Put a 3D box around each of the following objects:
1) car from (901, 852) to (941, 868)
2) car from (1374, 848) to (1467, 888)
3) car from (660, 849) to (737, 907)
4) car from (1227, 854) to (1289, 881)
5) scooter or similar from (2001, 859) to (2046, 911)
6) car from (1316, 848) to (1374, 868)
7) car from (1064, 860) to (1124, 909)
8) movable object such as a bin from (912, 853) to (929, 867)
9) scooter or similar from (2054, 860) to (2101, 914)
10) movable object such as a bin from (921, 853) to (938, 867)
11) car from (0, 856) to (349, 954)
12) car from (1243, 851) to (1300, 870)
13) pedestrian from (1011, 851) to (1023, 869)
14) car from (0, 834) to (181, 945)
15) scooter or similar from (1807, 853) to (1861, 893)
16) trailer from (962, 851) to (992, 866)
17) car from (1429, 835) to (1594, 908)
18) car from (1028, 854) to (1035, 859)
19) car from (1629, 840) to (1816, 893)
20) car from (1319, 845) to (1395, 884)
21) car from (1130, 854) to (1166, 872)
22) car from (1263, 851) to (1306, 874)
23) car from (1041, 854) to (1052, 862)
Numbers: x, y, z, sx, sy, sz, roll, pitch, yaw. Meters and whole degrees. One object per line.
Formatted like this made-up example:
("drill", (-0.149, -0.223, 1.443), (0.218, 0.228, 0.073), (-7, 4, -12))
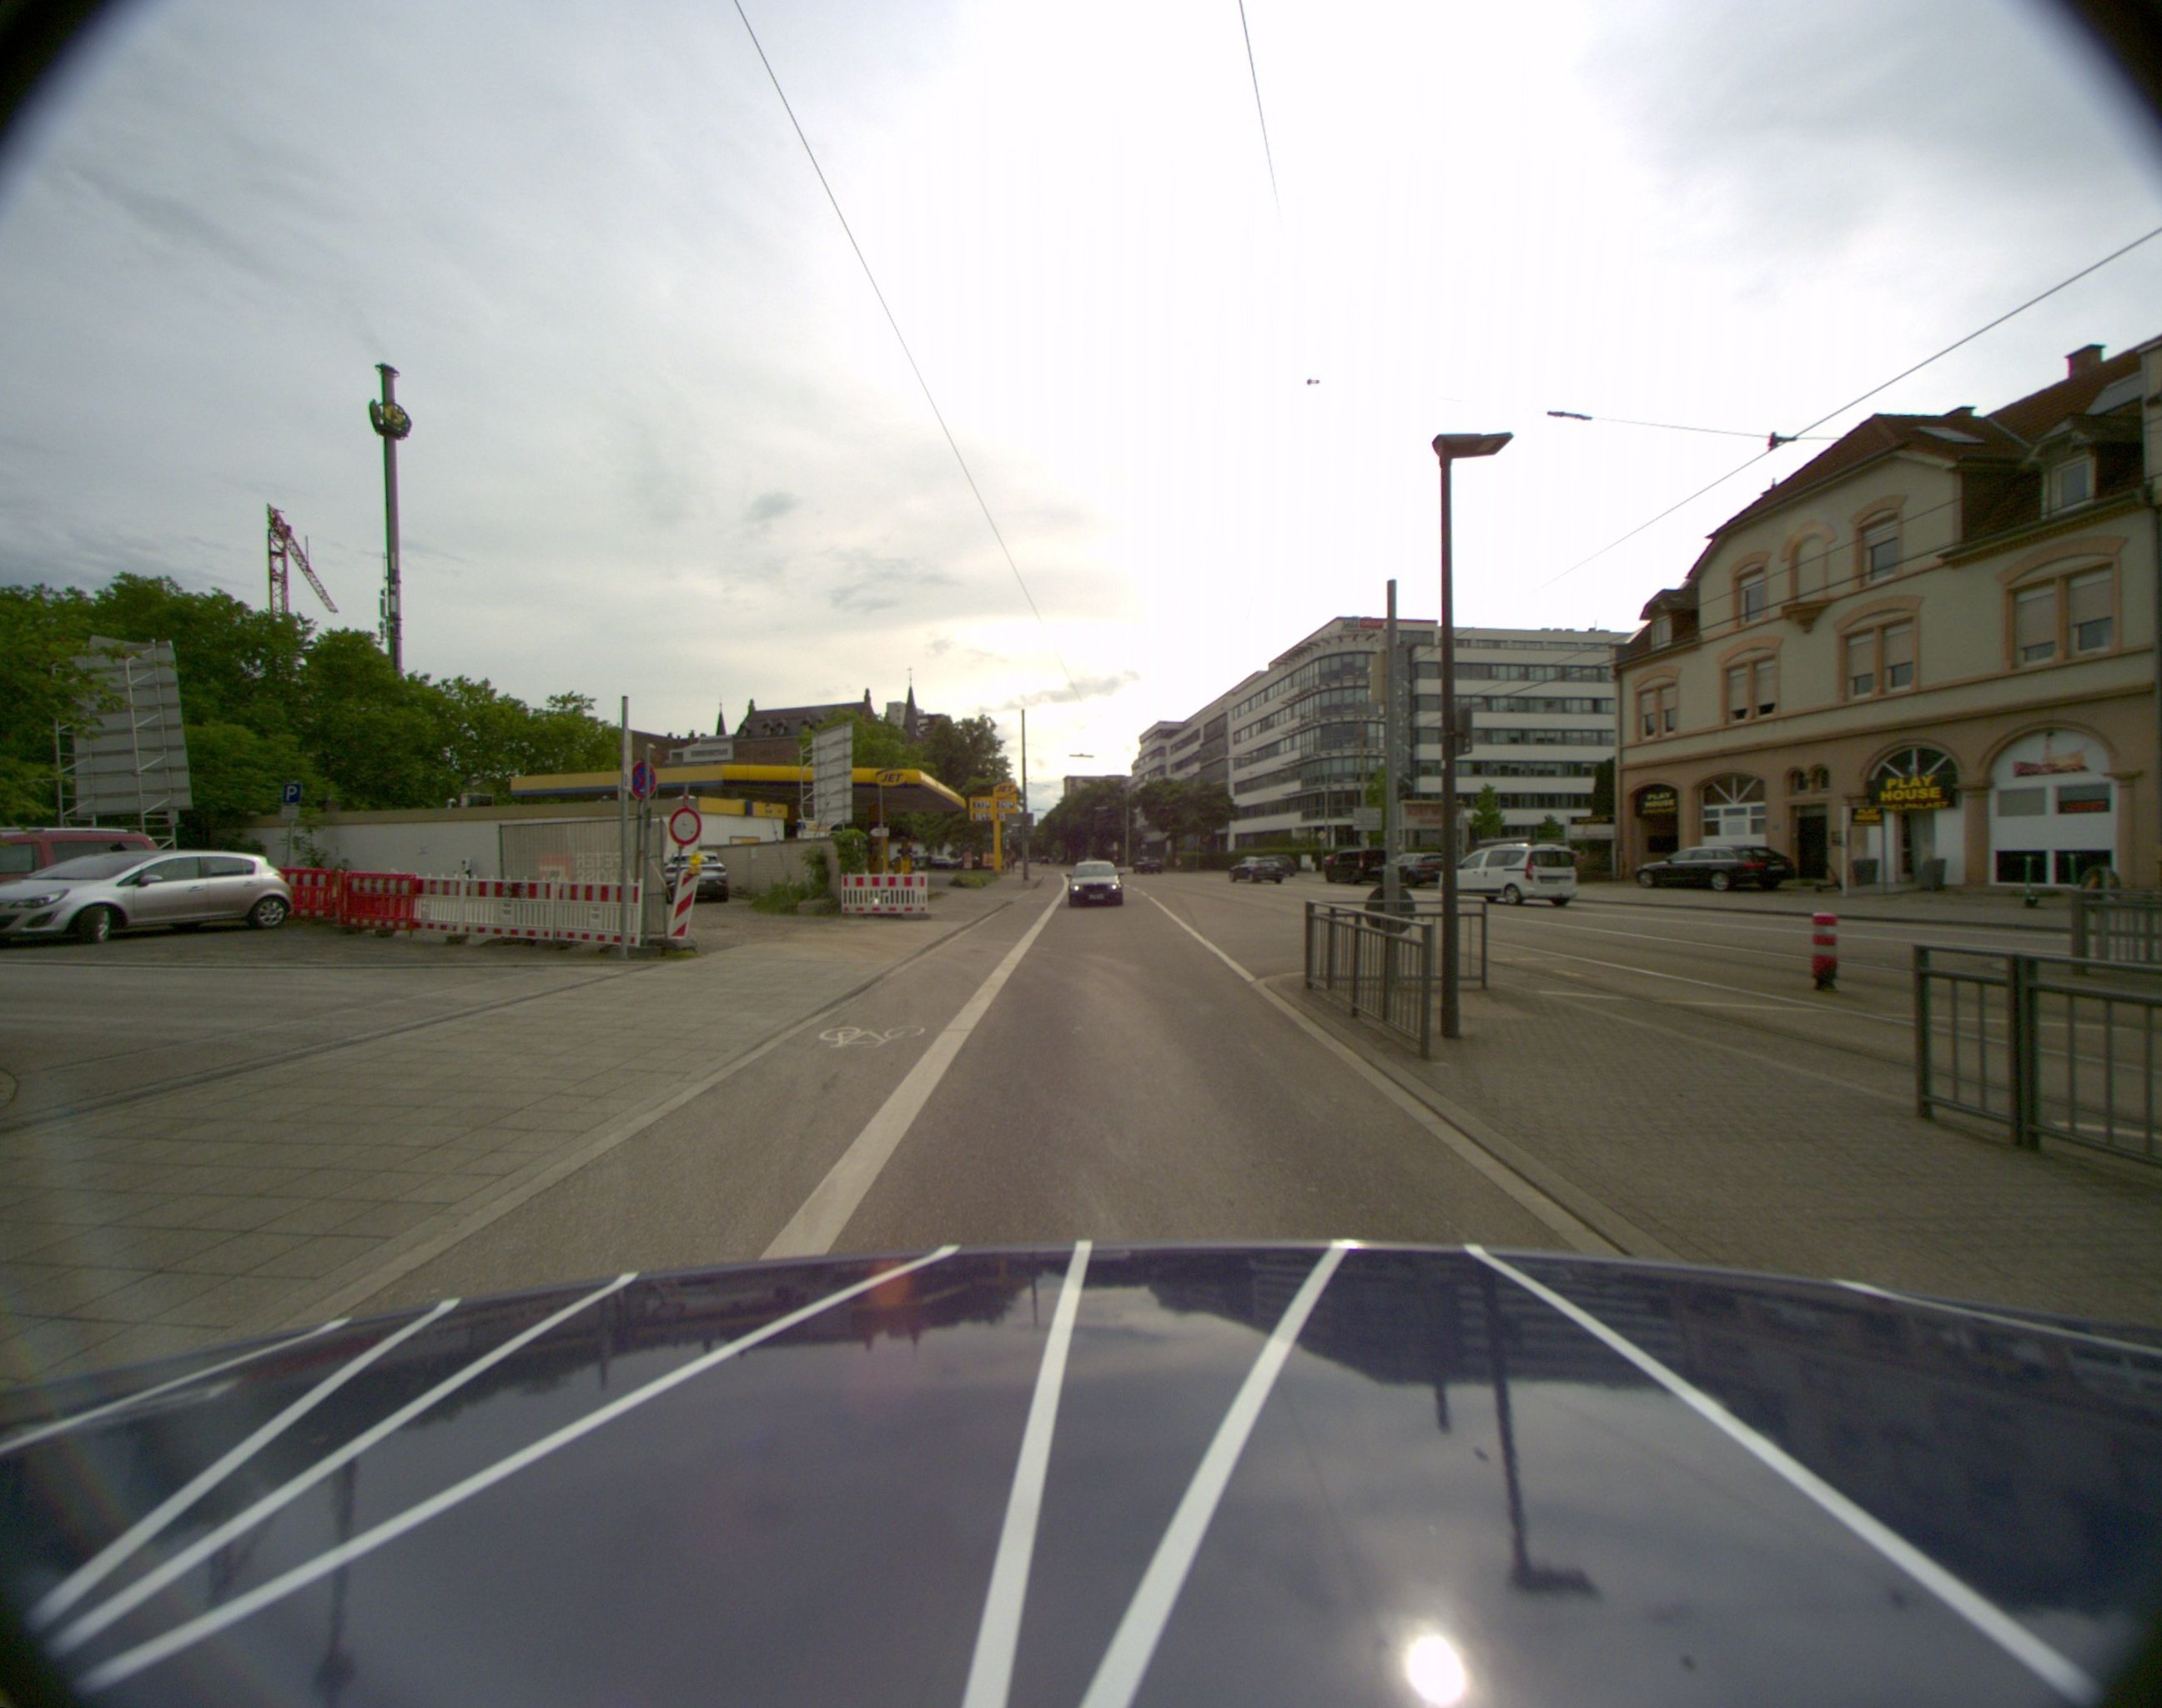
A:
("car", (-17.510, 0.621, 83.350), (3.999, 1.657, 1.999), (-2, 1, -6))
("car", (16.295, 0.642, 36.791), (2.043, 1.739, 4.532), (-3, 0, -6))
("car", (-12.160, 0.693, 24.154), (2.003, 1.628, 3.940), (0, 1, -28))
("car", (9.804, 0.735, 42.461), (1.888, 1.420, 4.420), (0, 0, -8))
("scooter or similar", (21.309, 0.684, 17.178), (1.180, 1.095, 0.526), (-2, 1, -33))
("car", (20.893, 0.316, 60.211), (4.018, 1.413, 1.725), (-1, -1, -6))
("car", (0.438, 0.951, 25.042), (1.786, 1.361, 4.113), (-2, 1, 1))
("movable object such as a bin", (-16.012, 0.587, 75.765), (1.118, 1.351, 1.162), (-1, 1, 28))
("scooter or similar", (21.520, 0.686, 16.405), (1.180, 1.095, 0.526), (-2, 1, -33))
("movable object such as a bin", (-14.975, 0.592, 75.229), (1.118, 1.312, 1.162), (-1, 1, 28))
("car", (-16.049, 0.772, 13.582), (1.767, 1.410, 4.346), (0, 1, -2))
("car", (14.751, 0.511, 58.877), (3.977, 1.443, 1.819), (0, 1, 24))
("pedestrian", (-6.409, 0.632, 75.858), (0.871, 1.738, 0.848), (2, 1, -32))
("car", (-18.871, 0.567, 12.906), (1.928, 1.834, 4.419), (1, 1, -1))
("scooter or similar", (22.529, 0.557, 22.735), (1.178, 1.095, 0.527), (-3, 1, -8))
("trailer", (-11.783, 0.490, 86.067), (3.292, 1.523, 1.772), (1, 3, -6))
("car", (12.818, 0.462, 23.045), (1.891, 1.977, 4.520), (0, 0, -10))
("car", (-15.434, 0.781, 237.649), (1.802, 1.537, 4.476), (-1, 1, -9))
("car", (21.664, 0.383, 26.003), (1.999, 1.484, 4.900), (-5, 1, -4))
("car", (15.370, 0.524, 42.648), (1.992, 2.002, 5.182), (-3, 1, -5))
("car", (5.807, 0.749, 66.724), (1.911, 1.464, 4.815), (0, 0, -10))
("car", (14.390, 0.615, 53.562), (1.791, 1.521, 4.150), (2, 0, 31))
("car", (-7.731, 0.831, 168.784), (1.848, 1.714, 4.403), (-1, 0, -10))
